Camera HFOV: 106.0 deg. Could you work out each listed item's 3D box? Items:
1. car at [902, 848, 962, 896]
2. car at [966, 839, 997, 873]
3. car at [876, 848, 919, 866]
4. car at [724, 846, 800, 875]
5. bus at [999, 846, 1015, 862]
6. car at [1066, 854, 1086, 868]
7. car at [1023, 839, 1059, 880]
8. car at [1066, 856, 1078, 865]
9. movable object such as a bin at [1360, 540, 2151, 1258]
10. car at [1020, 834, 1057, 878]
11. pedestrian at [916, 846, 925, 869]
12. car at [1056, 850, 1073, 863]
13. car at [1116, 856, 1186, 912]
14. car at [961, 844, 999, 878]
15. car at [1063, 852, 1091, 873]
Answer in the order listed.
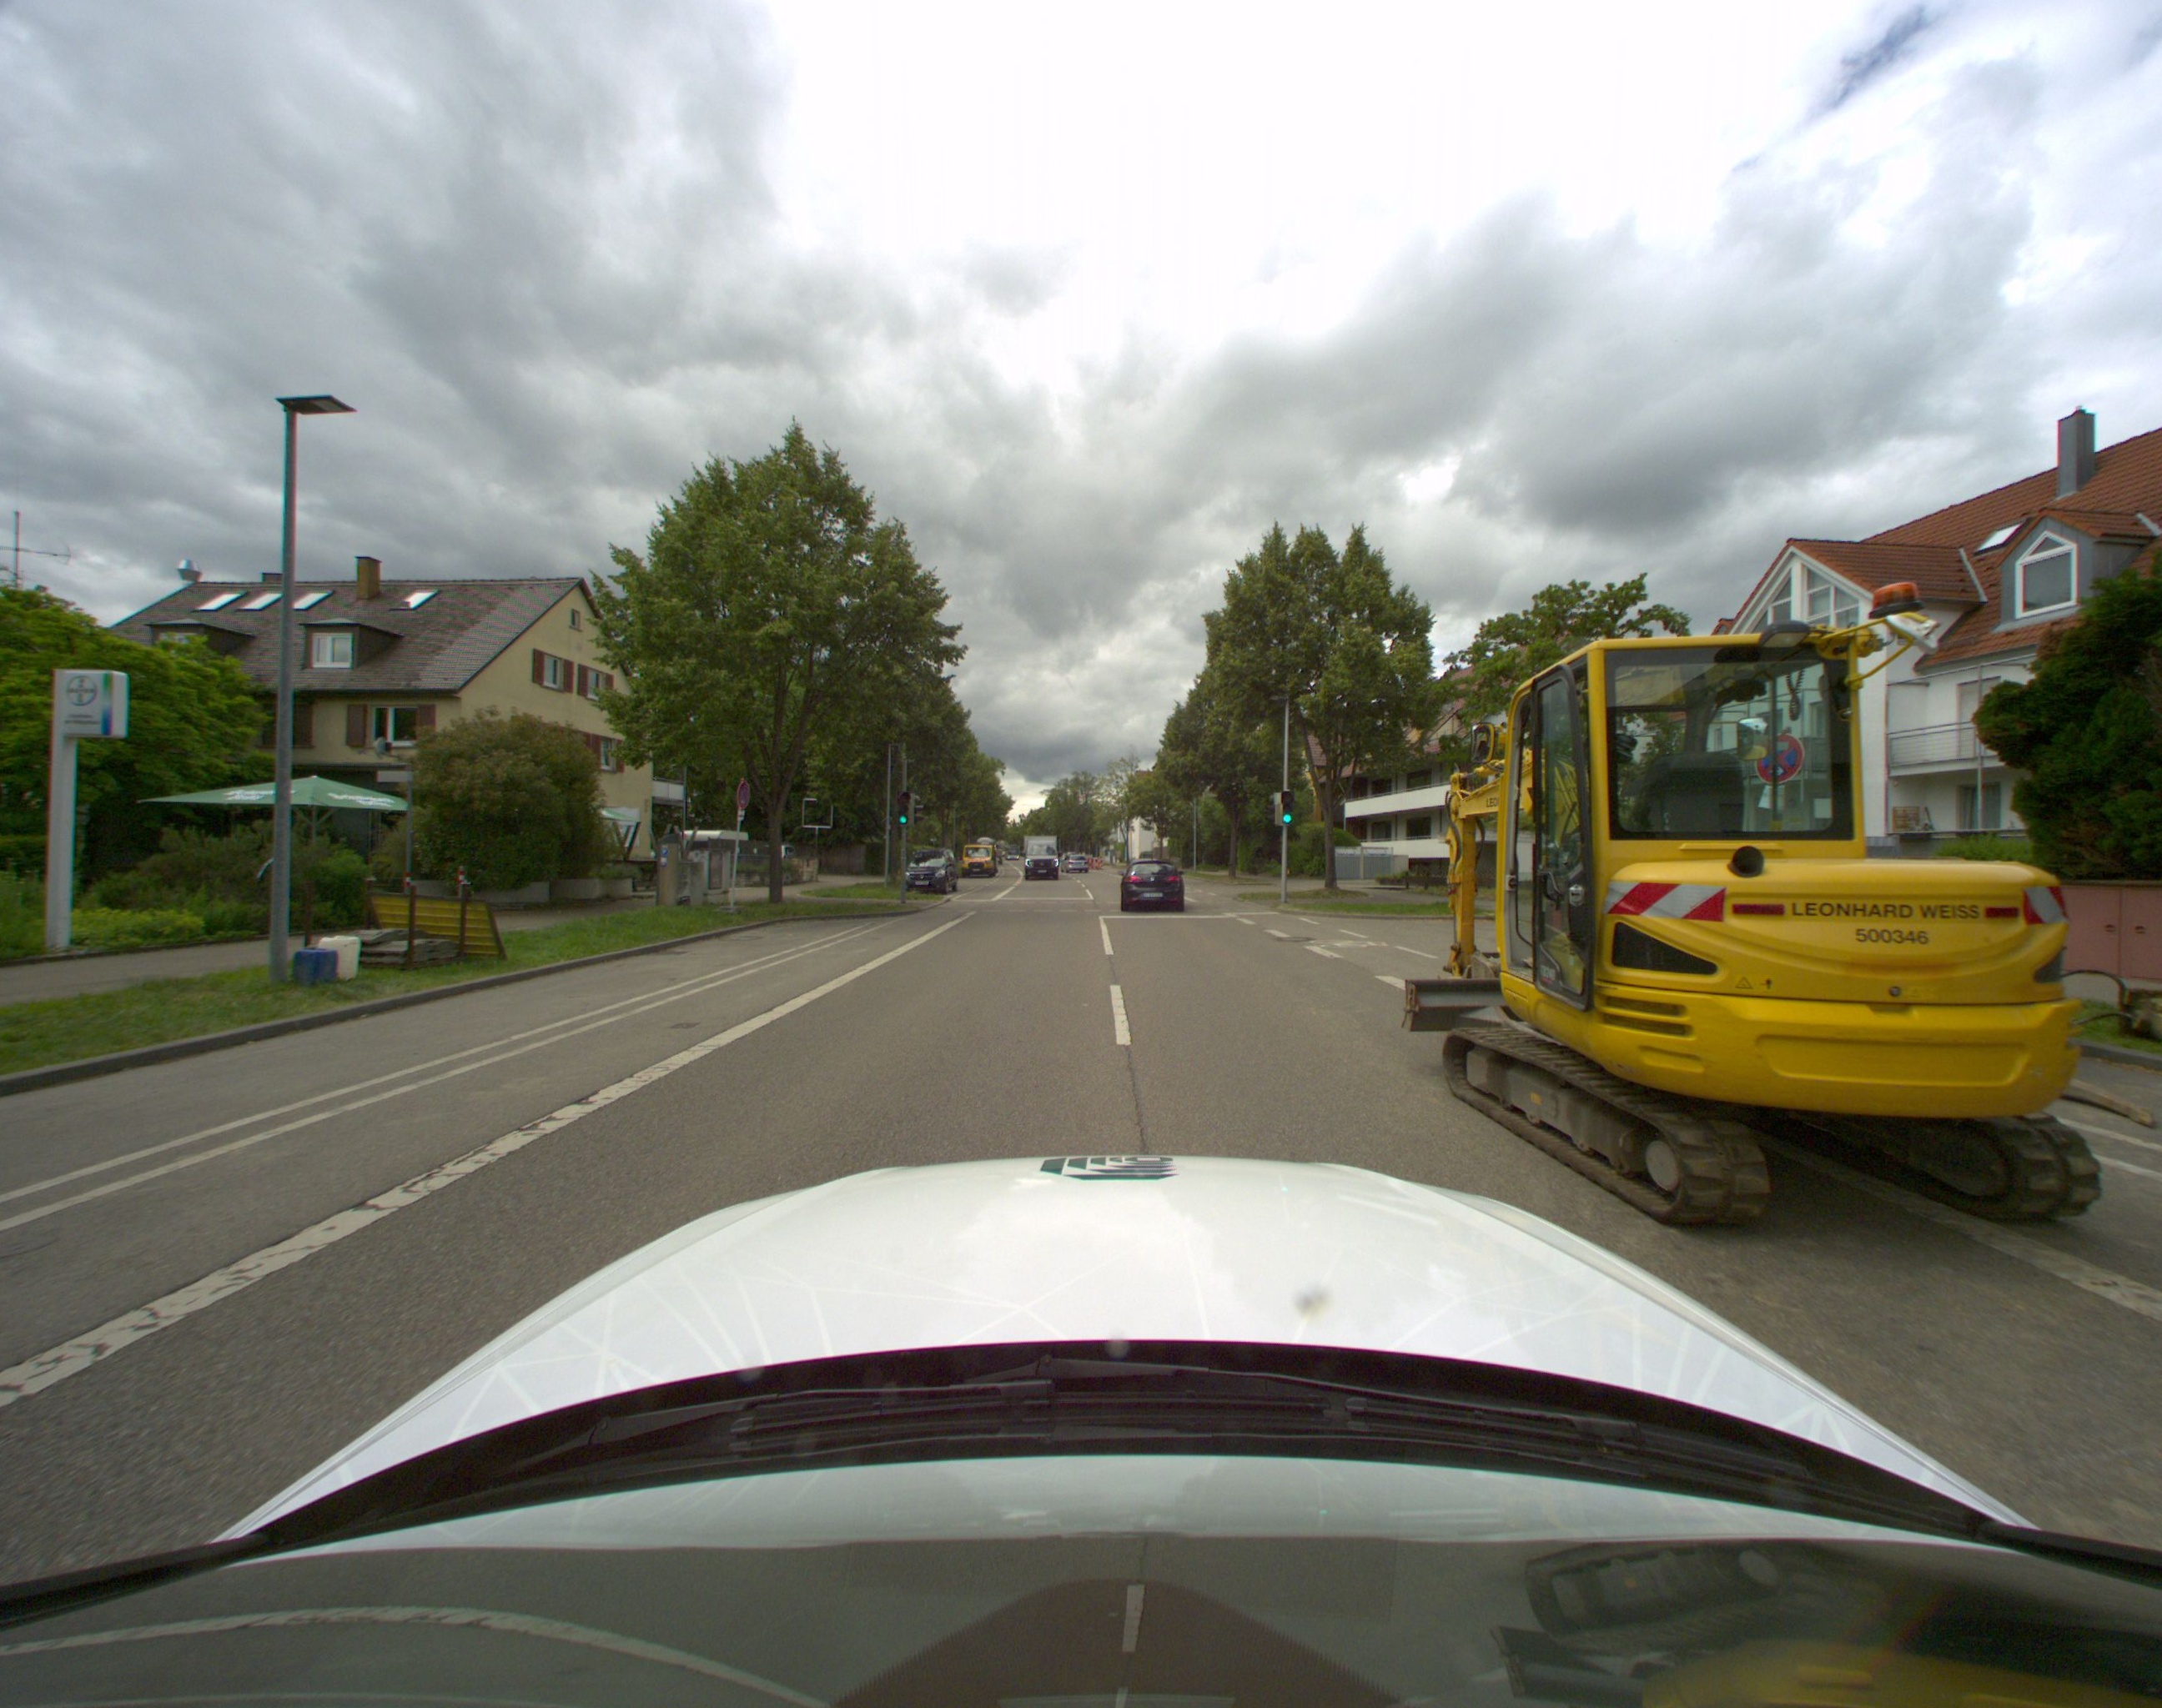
[{"bbox_3d":[-5.898,0.658,32.639,1.663,1.772,4.464,-1,0,-2],"label":"car"},{"bbox_3d":[-7.899,0.163,65.147,2.087,2.626,5.040,0,0,-2],"label":"car"},{"bbox_3d":[-16.991,0.261,75.445,3.674,1.594,1.677,0,0,-3],"label":"car"},{"bbox_3d":[-19.654,0.394,50.313,3.968,1.769,1.748,0,-1,5],"label":"car"},{"bbox_3d":[-10.107,0.019,111.995,1.989,2.123,7.349,0,0,-4],"label":"bus"},{"bbox_3d":[-0.521,0.705,86.822,1.807,1.415,3.686,0,0,-6],"label":"car"},{"bbox_3d":[-2.397,0.327,49.860,2.023,2.385,5.258,-1,0,-2],"label":"car"},{"bbox_3d":[-1.389,1.016,128.438,1.804,1.415,3.693,0,0,0],"label":"car"},{"bbox_3d":[3.072,0.154,4.828,1.760,2.574,3.743,0,0,4],"label":"movable object such as a bin"},{"bbox_3d":[-2.842,0.103,56.051,2.282,2.792,7.138,-1,0,-2],"label":"car"},{"bbox_3d":[-12.362,0.260,62.651,0.594,1.741,0.573,0,0,-3],"label":"pedestrian"},{"bbox_3d":[-2.040,0.286,98.801,1.788,1.623,3.733,-1,0,-5],"label":"car"},{"bbox_3d":[1.942,0.790,23.172,1.811,1.437,3.743,-1,0,3],"label":"car"},{"bbox_3d":[-6.708,0.456,54.312,2.087,2.175,5.040,0,0,-2],"label":"car"},{"bbox_3d":[-0.381,0.715,67.441,1.904,1.685,3.731,-1,0,-7],"label":"car"}]
